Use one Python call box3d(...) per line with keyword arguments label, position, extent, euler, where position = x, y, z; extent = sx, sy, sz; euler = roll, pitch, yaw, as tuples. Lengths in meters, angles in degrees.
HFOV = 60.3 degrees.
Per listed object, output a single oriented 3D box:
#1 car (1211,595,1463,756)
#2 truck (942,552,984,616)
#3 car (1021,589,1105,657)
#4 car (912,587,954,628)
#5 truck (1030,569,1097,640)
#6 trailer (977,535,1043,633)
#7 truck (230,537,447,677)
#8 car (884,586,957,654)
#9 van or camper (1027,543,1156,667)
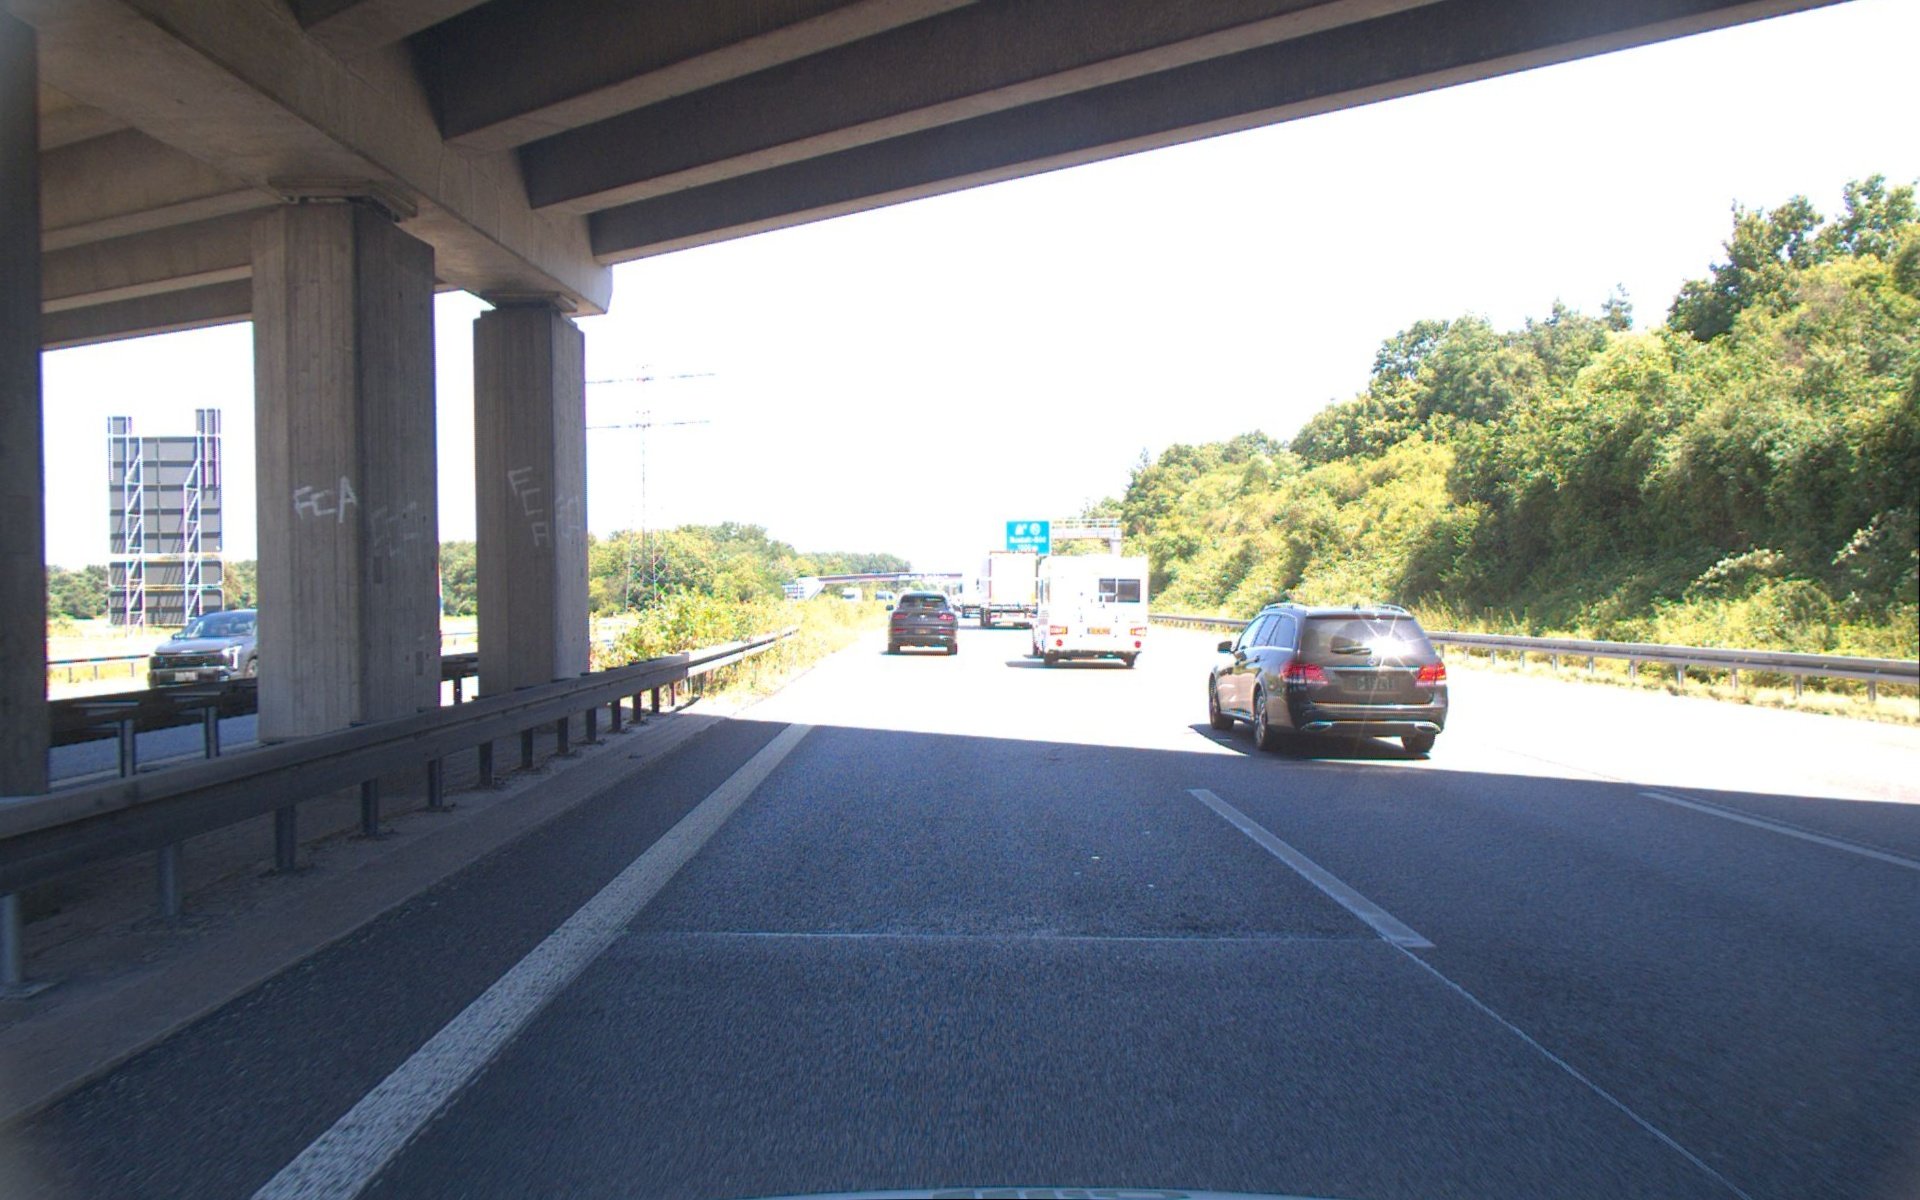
box3d(label="car", position=(3.988, 0.720, 18.310), extent=(1.803, 1.532, 4.739), euler=(0, 0, 1))
box3d(label="truck", position=(0.179, -1.287, 141.615), extent=(3.440, 5.257, 10.257), euler=(0, 0, -1))
box3d(label="car", position=(2.759, 0.578, 45.234), extent=(1.841, 1.640, 4.701), euler=(-1, 2, -2))
box3d(label="car", position=(-1.297, 0.339, 78.200), extent=(1.922, 1.846, 4.447), euler=(-1, 0, -2))
box3d(label="truck", position=(6.678, 0.312, 108.460), extent=(3.498, 4.319, 11.650), euler=(1, 0, -1))
box3d(label="trailer", position=(2.622, -0.780, 90.485), extent=(3.024, 4.970, 12.256), euler=(1, 0, -1))
box3d(label="truck", position=(-18.910, 0.198, 51.080), extent=(3.440, 3.930, 8.660), euler=(0, 0, -1))
box3d(label="car", position=(-1.124, 0.541, 46.557), extent=(1.953, 1.803, 3.999), euler=(-1, 0, -2))
box3d(label="van or camper", position=(3.036, 0.091, 39.807), extent=(2.390, 2.721, 6.347), euler=(-1, 0, -2))
